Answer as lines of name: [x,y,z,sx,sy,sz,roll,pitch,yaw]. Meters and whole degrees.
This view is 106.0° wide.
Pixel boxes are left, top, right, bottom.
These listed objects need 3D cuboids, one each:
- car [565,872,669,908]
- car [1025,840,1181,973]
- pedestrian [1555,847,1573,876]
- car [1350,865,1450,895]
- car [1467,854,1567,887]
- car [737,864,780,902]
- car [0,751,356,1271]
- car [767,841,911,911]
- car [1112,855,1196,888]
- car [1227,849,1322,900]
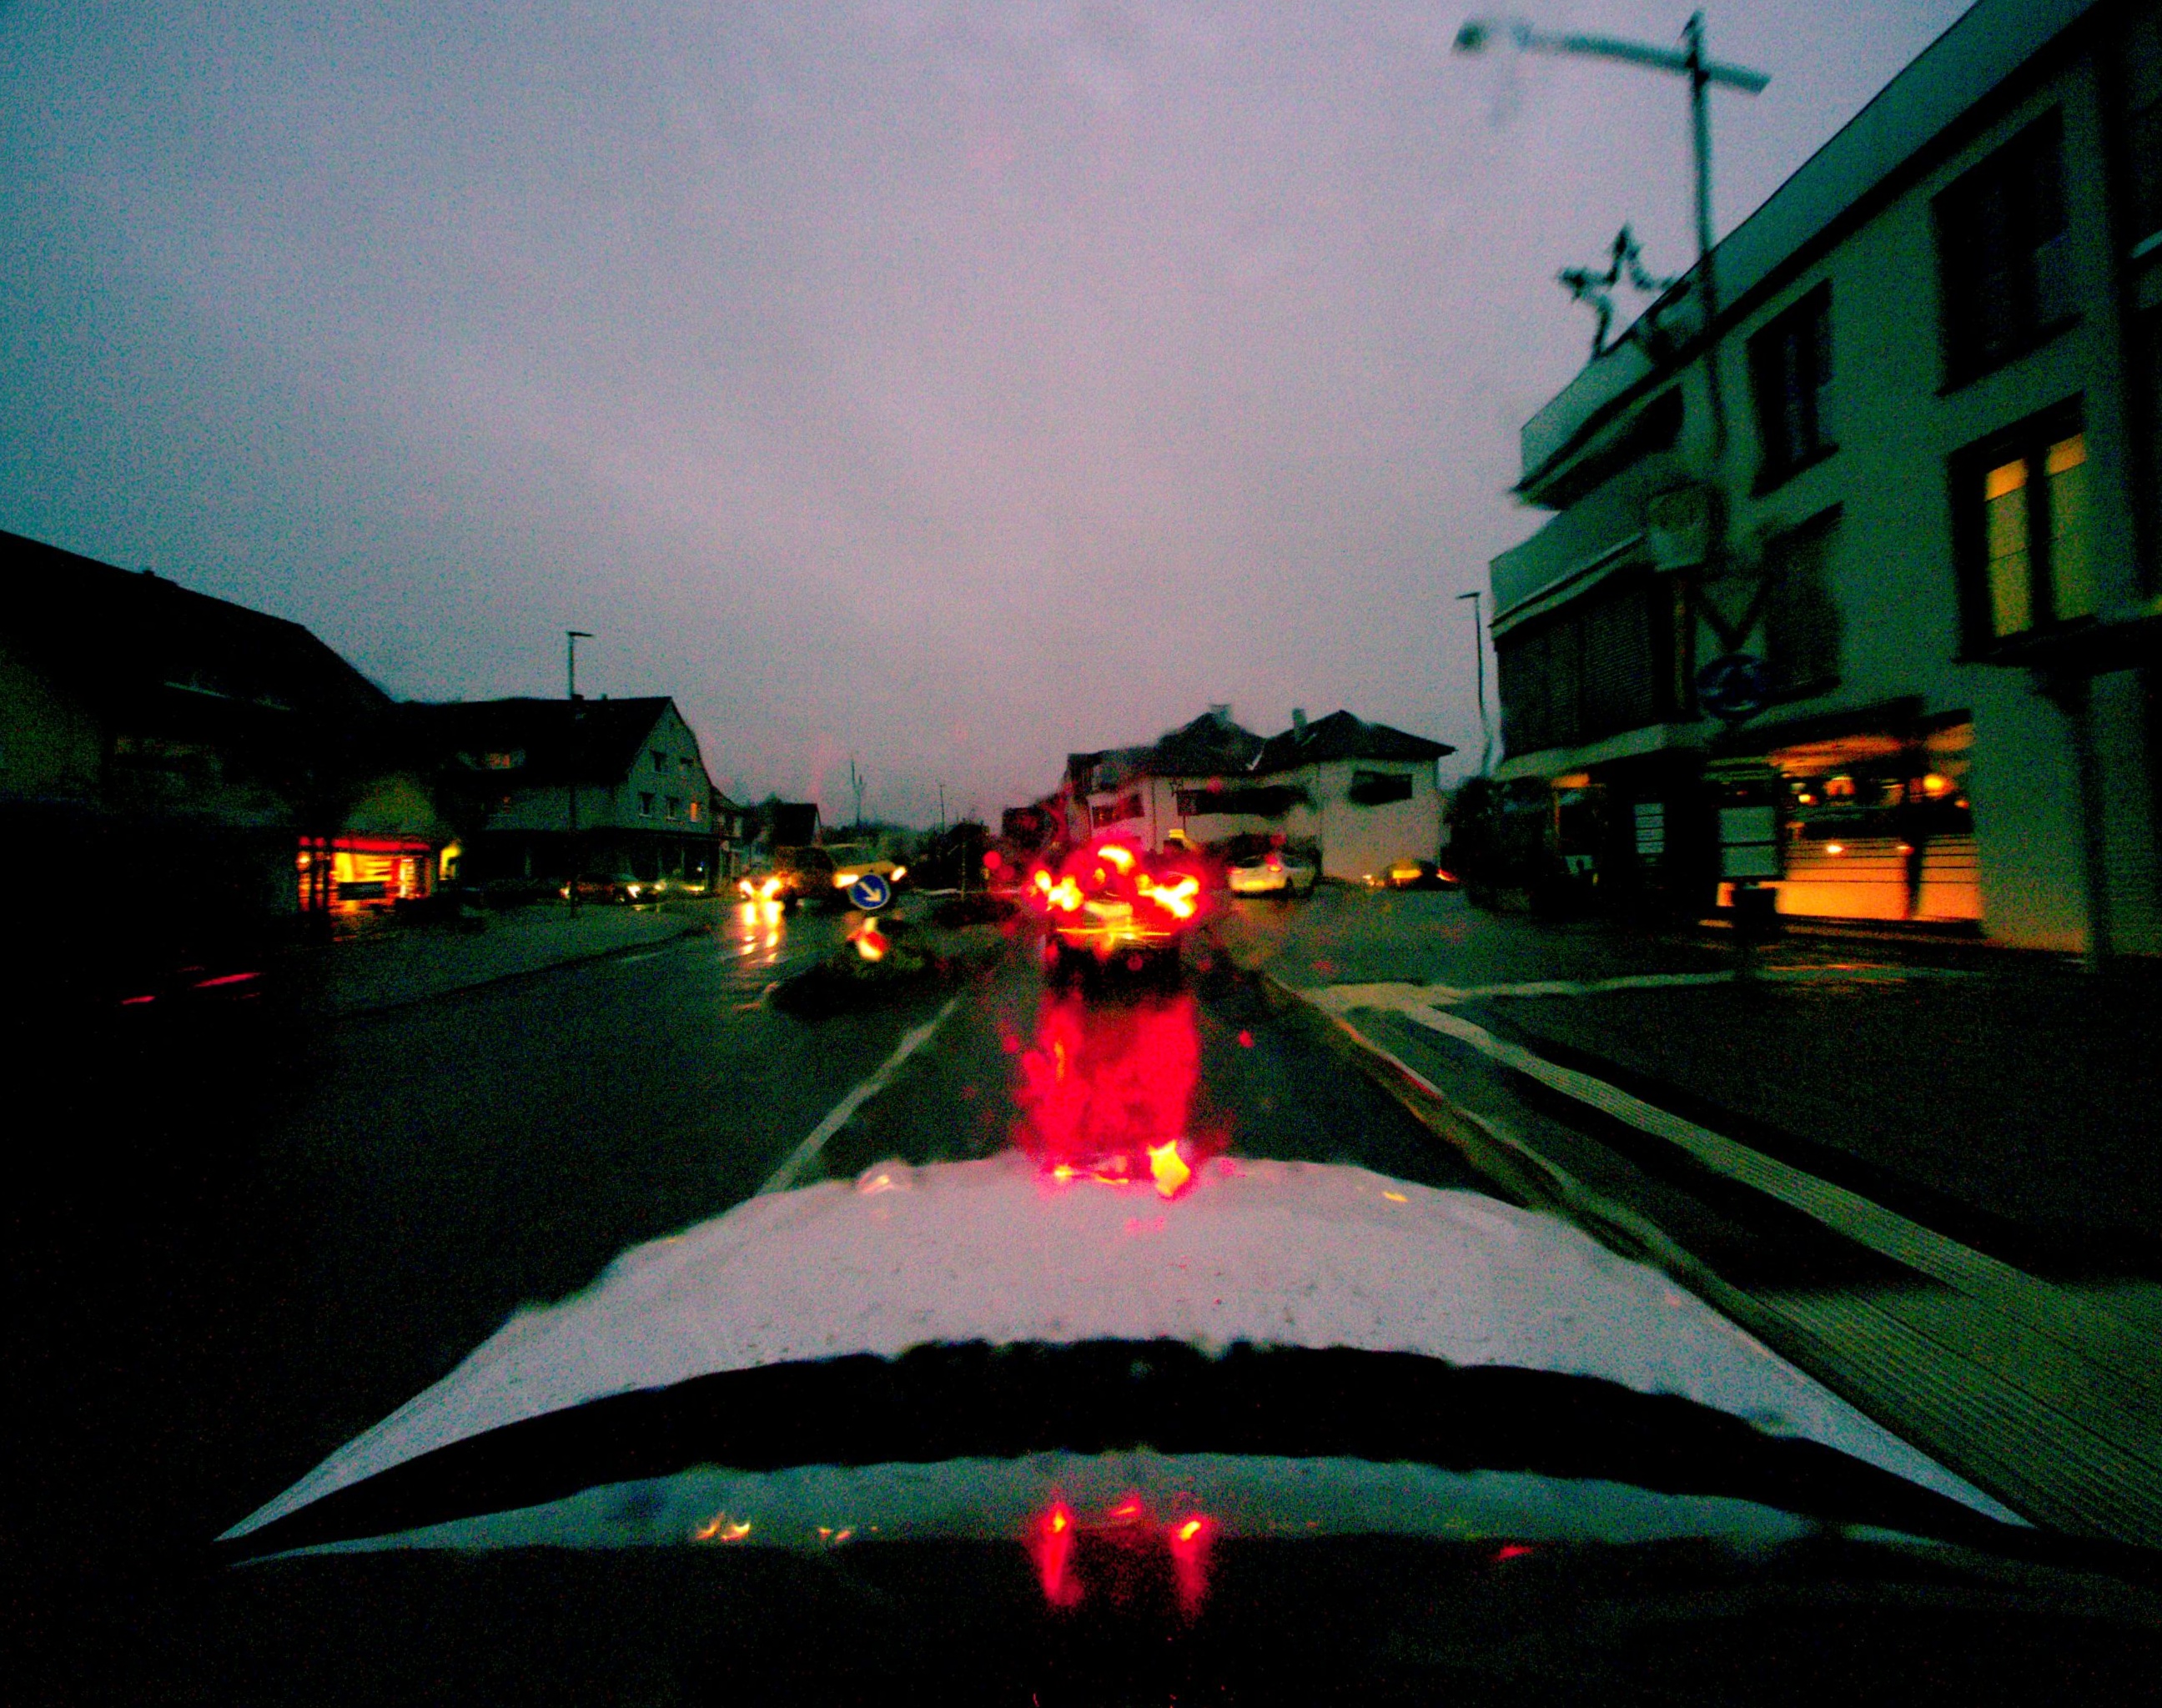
car: [-20.180,1.583,35.429,3.799,1.422,1.722,-2,-3,15]
car: [0.327,0.657,12.068,1.909,1.615,3.951,-1,0,1]
pedestrian: [27.484,0.433,46.335,0.711,1.621,0.584,-1,0,10]
car: [15.640,1.309,40.070,4.210,1.384,1.849,-1,-3,-2]
car: [21.460,0.819,40.186,3.973,1.552,1.697,-1,-2,0]
car: [-13.010,1.138,32.819,1.510,1.411,3.341,-1,-1,-22]
car: [-4.585,0.564,2.245,1.717,1.813,4.128,-2,0,-6]
car: [-7.718,0.687,25.733,4.837,2.014,2.012,-1,-1,40]
car: [3.840,0.934,42.845,3.952,1.628,1.837,-1,0,22]
car: [6.469,0.638,26.980,1.760,1.539,3.957,-1,0,34]
